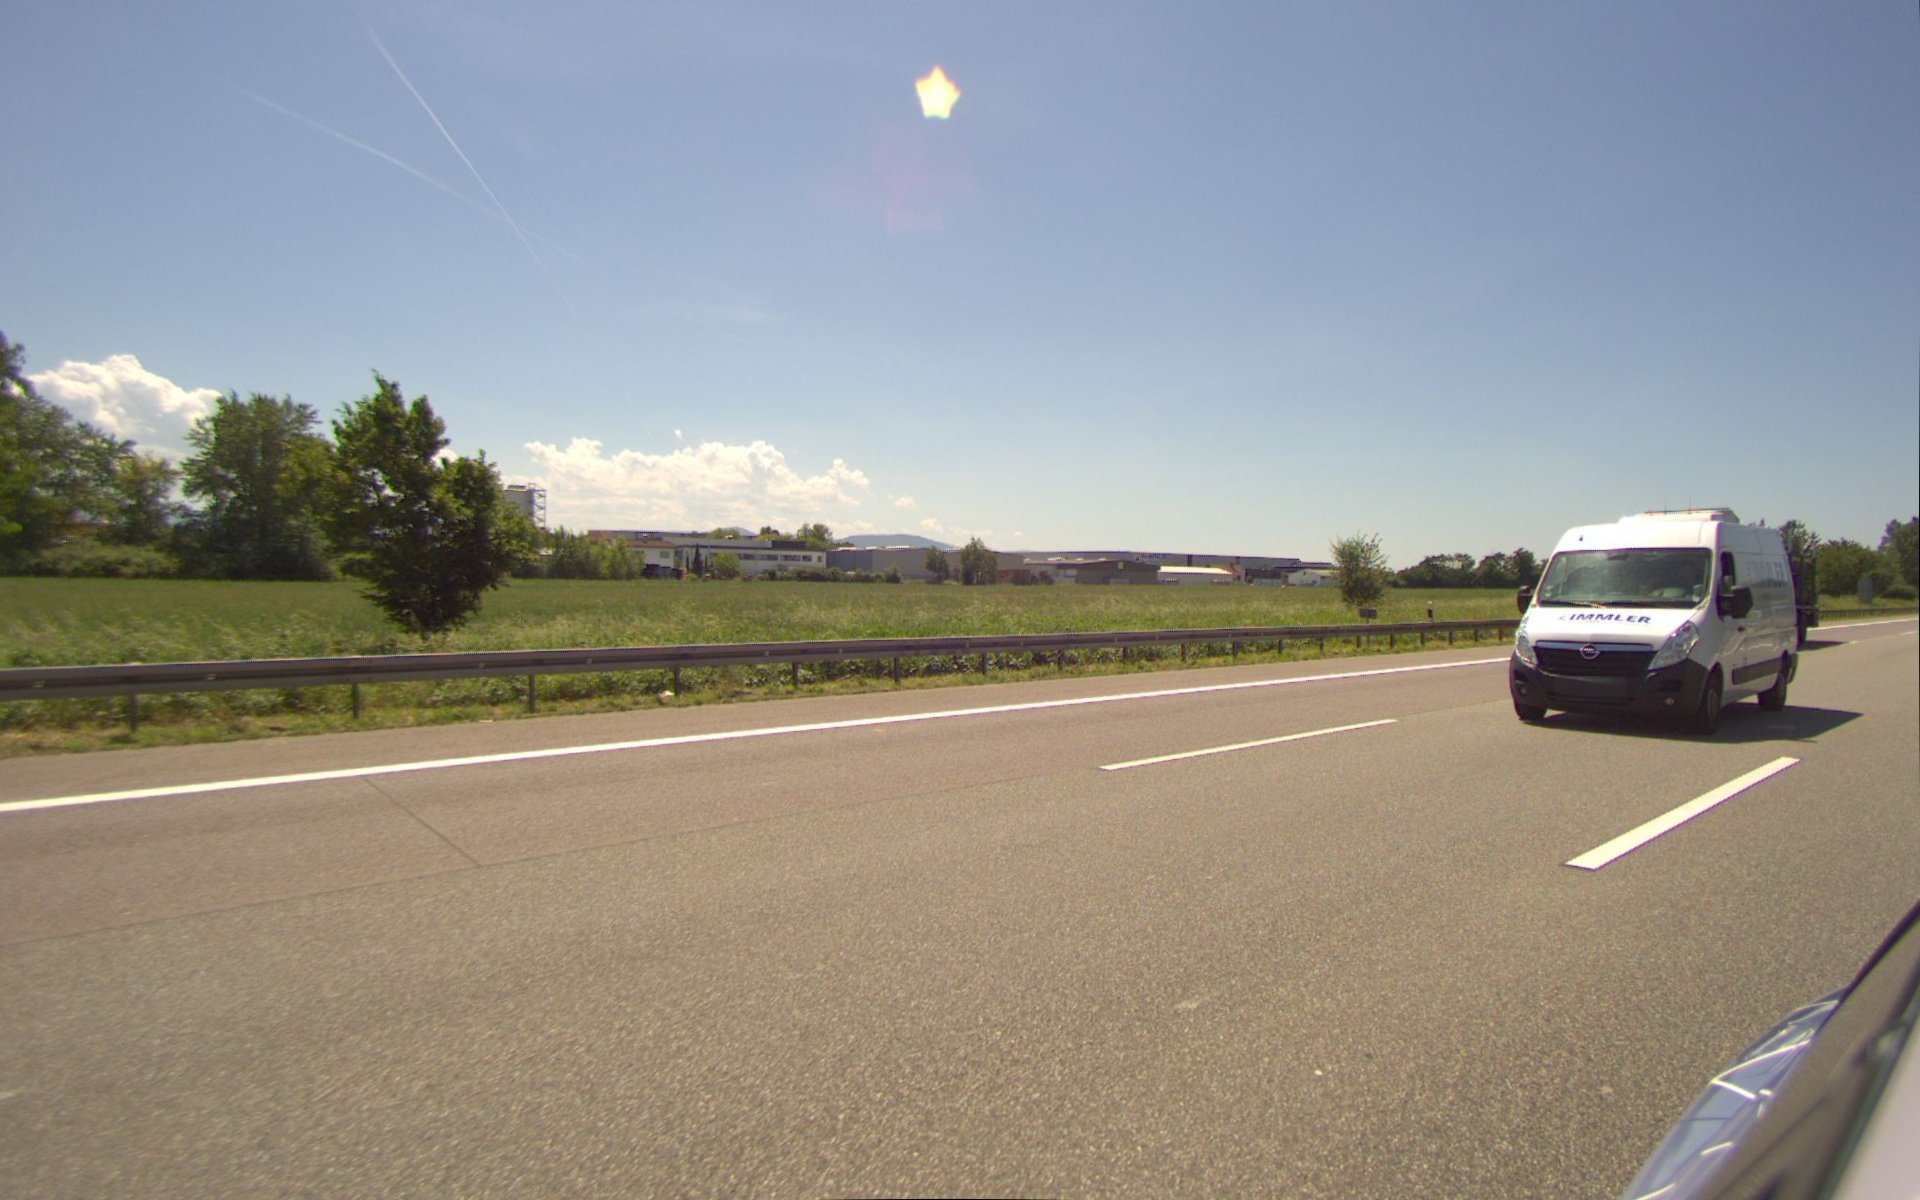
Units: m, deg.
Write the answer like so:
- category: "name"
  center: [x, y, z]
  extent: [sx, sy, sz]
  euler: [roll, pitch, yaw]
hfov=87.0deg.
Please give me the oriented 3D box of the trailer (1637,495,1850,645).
- category: "trailer"
  center: [25.543, -0.828, 32.525]
  extent: [13.715, 4.016, 2.698]
  euler: [0, 0, -41]

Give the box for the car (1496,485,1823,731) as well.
- category: "car"
  center: [9.314, 0.058, 13.208]
  extent: [5.843, 2.540, 2.157]
  euler: [-1, 0, -41]

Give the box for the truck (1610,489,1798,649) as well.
- category: "truck"
  center: [21.436, -0.803, 28.981]
  extent: [7.568, 4.016, 2.698]
  euler: [0, 0, -41]
